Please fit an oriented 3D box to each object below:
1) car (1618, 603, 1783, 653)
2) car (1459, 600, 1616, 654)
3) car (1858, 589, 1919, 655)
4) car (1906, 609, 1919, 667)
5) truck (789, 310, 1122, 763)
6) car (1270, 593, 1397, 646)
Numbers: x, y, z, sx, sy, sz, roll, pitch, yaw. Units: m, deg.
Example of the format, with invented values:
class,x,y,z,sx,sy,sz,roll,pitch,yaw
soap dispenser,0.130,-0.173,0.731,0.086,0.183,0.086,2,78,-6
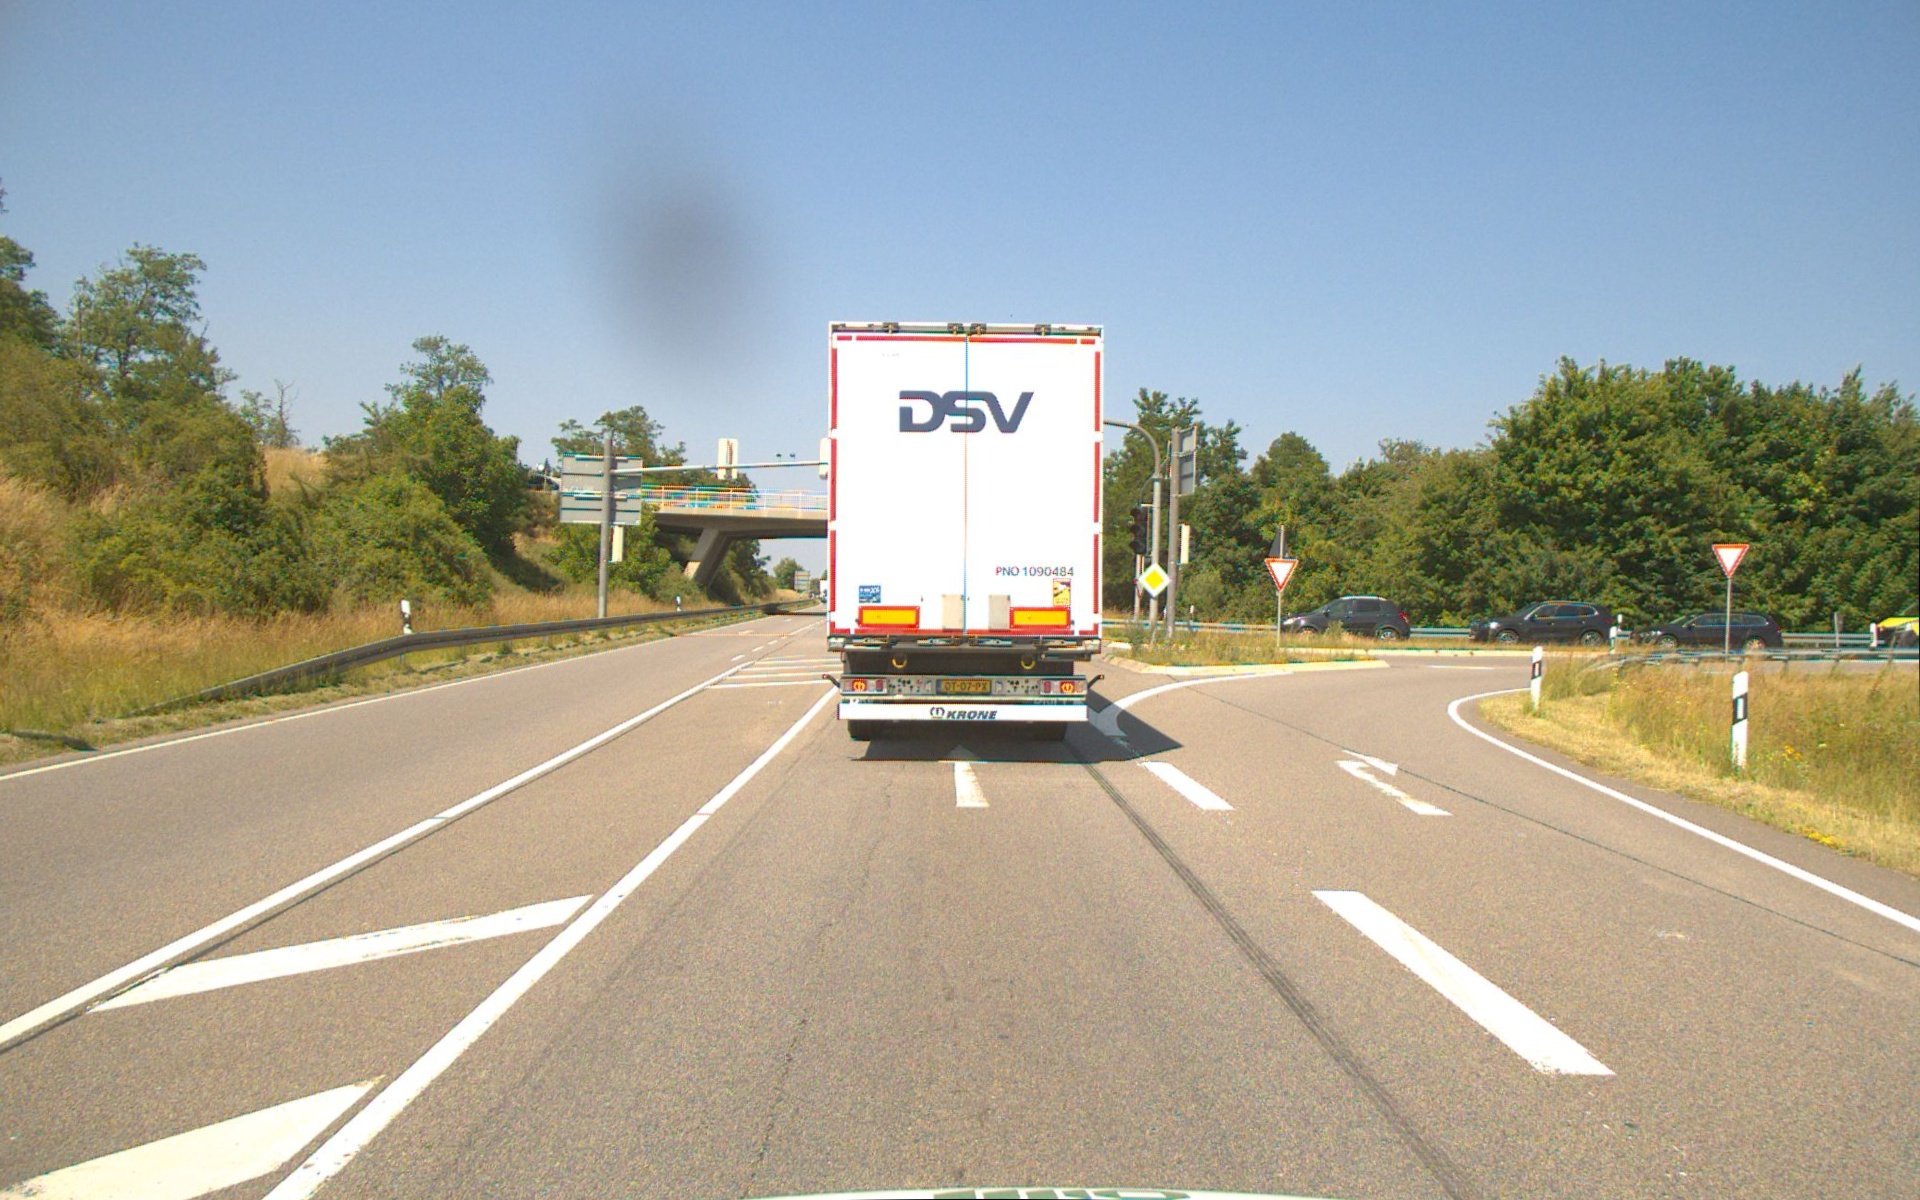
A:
class,x,y,z,sx,sy,sz,roll,pitch,yaw
car,24.132,0.910,54.034,4.583,1.540,1.854,1,-1,7
car,18.320,0.853,52.602,4.393,1.626,1.768,1,-1,2
car,31.530,0.703,52.283,5.212,2.049,2.000,1,-1,1
car,28.745,1.017,45.739,4.386,1.594,1.735,-1,0,-9
truck,-0.108,-0.553,19.682,2.927,4.011,9.873,1,0,-1
car,12.290,0.646,54.601,3.901,1.669,1.842,1,-1,5
